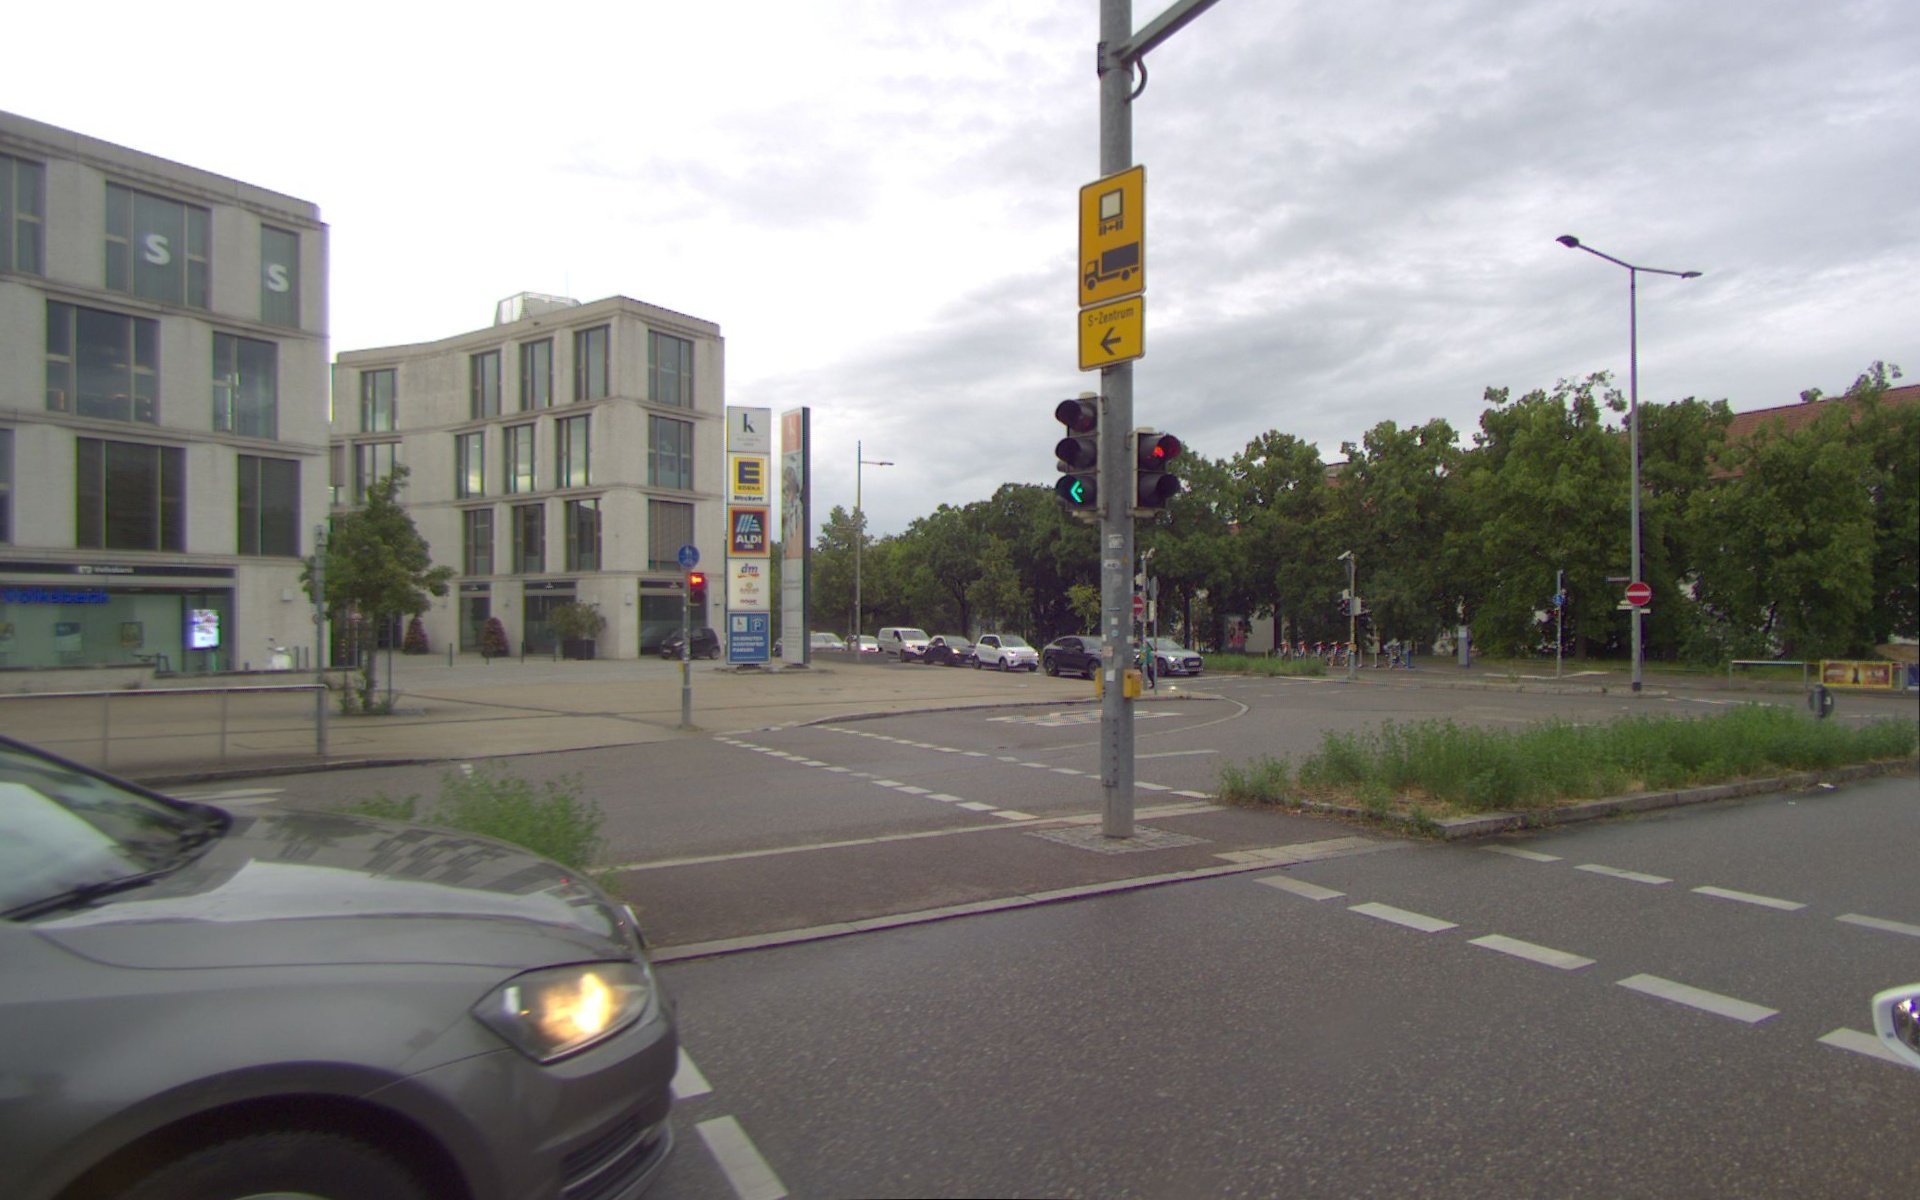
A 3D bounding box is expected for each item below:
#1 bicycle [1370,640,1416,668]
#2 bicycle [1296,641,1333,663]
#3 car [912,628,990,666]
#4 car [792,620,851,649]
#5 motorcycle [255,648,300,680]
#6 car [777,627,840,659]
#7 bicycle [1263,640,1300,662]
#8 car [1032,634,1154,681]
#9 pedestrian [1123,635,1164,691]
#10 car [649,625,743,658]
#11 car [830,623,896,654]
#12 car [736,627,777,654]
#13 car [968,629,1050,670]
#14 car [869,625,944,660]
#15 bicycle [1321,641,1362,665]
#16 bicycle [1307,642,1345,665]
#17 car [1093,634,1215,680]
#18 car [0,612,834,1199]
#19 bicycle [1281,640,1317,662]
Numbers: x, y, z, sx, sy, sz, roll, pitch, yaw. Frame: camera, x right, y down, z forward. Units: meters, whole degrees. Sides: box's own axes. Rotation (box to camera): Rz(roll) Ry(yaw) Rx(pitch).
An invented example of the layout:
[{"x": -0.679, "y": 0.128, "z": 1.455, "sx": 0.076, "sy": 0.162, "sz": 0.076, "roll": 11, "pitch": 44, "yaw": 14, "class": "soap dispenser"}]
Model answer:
[{"x": 20.318, "y": 2.526, "z": 47.099, "sx": 1.959, "sy": 1.266, "sz": 0.986, "roll": 2, "pitch": -1, "yaw": -30, "class": "bicycle"}, {"x": 17.939, "y": 2.639, "z": 50.877, "sx": 1.959, "sy": 1.085, "sz": 0.649, "roll": 2, "pitch": -1, "yaw": -30, "class": "bicycle"}, {"x": -0.487, "y": 2.247, "z": 48.785, "sx": 1.976, "sy": 1.615, "sz": 4.185, "roll": 2, "pitch": -1, "yaw": -29, "class": "car"}, {"x": -8.860, "y": 2.184, "z": 64.023, "sx": 1.977, "sy": 1.615, "sz": 4.853, "roll": 2, "pitch": -1, "yaw": -31, "class": "car"}, {"x": -17.478, "y": 1.627, "z": 25.717, "sx": 1.081, "sy": 0.750, "sz": 0.522, "roll": 1, "pitch": -1, "yaw": 29, "class": "motorcycle"}, {"x": -8.745, "y": 2.432, "z": 57.606, "sx": 1.976, "sy": 1.615, "sz": 4.856, "roll": 2, "pitch": -1, "yaw": -29, "class": "car"}, {"x": 16.839, "y": 2.677, "z": 52.610, "sx": 1.959, "sy": 1.085, "sz": 0.649, "roll": 2, "pitch": -1, "yaw": -30, "class": "bicycle"}, {"x": 4.934, "y": 2.137, "z": 38.116, "sx": 1.976, "sy": 1.520, "sz": 5.001, "roll": 2, "pitch": -1, "yaw": -29, "class": "car"}, {"x": 5.917, "y": 2.029, "z": 32.418, "sx": 0.931, "sy": 1.750, "sz": 0.922, "roll": 2, "pitch": 0, "yaw": -18, "class": "pedestrian"}, {"x": -12.624, "y": 1.969, "z": 48.238, "sx": 1.968, "sy": 1.483, "sz": 3.985, "roll": -1, "pitch": -2, "yaw": 37, "class": "car"}, {"x": -5.672, "y": 2.210, "z": 58.296, "sx": 1.976, "sy": 1.615, "sz": 4.856, "roll": 2, "pitch": -1, "yaw": -29, "class": "car"}, {"x": -15.865, "y": 3.134, "z": 78.151, "sx": 1.976, "sy": 2.040, "sz": 3.970, "roll": 2, "pitch": -2, "yaw": -29, "class": "car"}, {"x": 2.109, "y": 2.124, "z": 43.910, "sx": 1.976, "sy": 1.615, "sz": 3.536, "roll": 2, "pitch": -1, "yaw": -29, "class": "car"}, {"x": -2.894, "y": 2.231, "z": 53.300, "sx": 1.976, "sy": 1.615, "sz": 4.856, "roll": 2, "pitch": -1, "yaw": -29, "class": "car"}, {"x": 18.808, "y": 2.612, "z": 49.491, "sx": 1.959, "sy": 1.085, "sz": 0.798, "roll": 2, "pitch": -1, "yaw": -30, "class": "bicycle"}, {"x": 18.238, "y": 2.650, "z": 50.016, "sx": 1.959, "sy": 1.085, "sz": 0.649, "roll": 2, "pitch": -1, "yaw": -30, "class": "bicycle"}, {"x": 7.579, "y": 2.212, "z": 39.802, "sx": 1.976, "sy": 1.568, "sz": 5.001, "roll": 2, "pitch": -1, "yaw": -29, "class": "car"}, {"x": -2.578, "y": 0.760, "z": 1.766, "sx": 4.325, "sy": 1.501, "sz": 1.807, "roll": 2, "pitch": -2, "yaw": -30, "class": "car"}, {"x": 17.509, "y": 2.657, "z": 51.879, "sx": 1.959, "sy": 1.085, "sz": 0.649, "roll": 2, "pitch": -1, "yaw": -30, "class": "bicycle"}]
